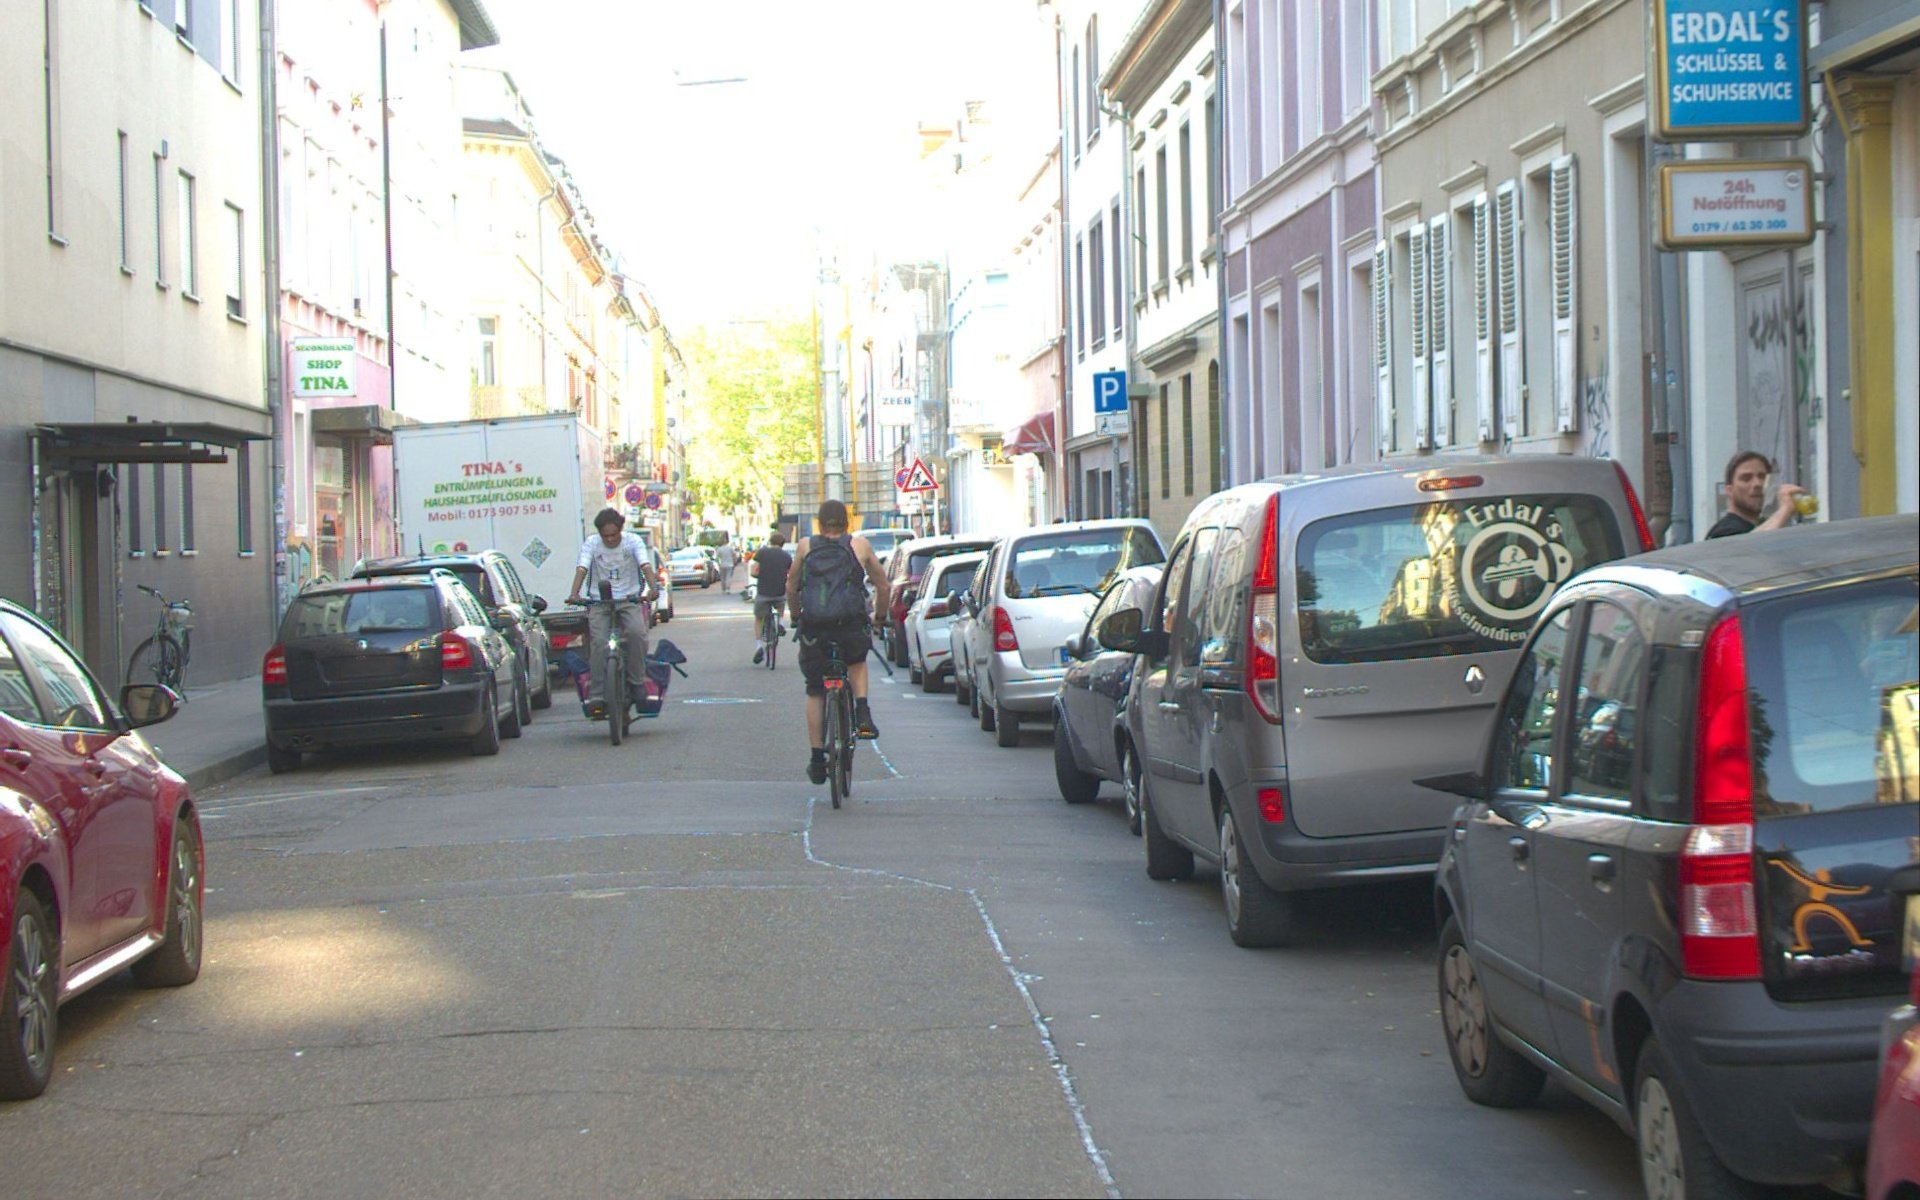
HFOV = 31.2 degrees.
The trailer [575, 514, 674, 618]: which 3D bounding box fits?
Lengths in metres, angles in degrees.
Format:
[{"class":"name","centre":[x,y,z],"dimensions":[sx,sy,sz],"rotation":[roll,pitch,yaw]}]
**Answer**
[{"class":"trailer","centre":[-7.112,-0.725,73.059],"dimensions":[1.881,2.085,3.738],"rotation":[-2,1,-3]}]

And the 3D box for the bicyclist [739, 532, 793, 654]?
[{"class":"bicyclist","centre":[-2.516,-0.095,44.526],"dimensions":[0.671,1.562,0.716],"rotation":[0,0,-5]}]

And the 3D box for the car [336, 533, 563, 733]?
[{"class":"car","centre":[-4.849,0.257,33.141],"dimensions":[1.716,1.644,4.246],"rotation":[-4,2,-4]}]

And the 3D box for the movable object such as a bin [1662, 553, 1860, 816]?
[{"class":"movable object such as a bin","centre":[3.933,0.404,16.908],"dimensions":[0.762,1.239,0.580],"rotation":[-2,0,-6]}]

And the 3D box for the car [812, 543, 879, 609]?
[{"class":"car","centre":[-2.922,-0.609,87.375],"dimensions":[1.611,1.628,3.611],"rotation":[0,0,-3]}]

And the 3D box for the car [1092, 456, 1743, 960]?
[{"class":"car","centre":[1.716,0.365,14.386],"dimensions":[1.899,1.787,4.315],"rotation":[0,0,-4]}]

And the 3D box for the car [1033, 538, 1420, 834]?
[{"class":"car","centre":[1.405,0.424,19.354],"dimensions":[1.552,1.506,3.612],"rotation":[0,0,-6]}]

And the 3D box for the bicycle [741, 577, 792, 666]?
[{"class":"bicycle","centre":[-2.509,0.266,44.531],"dimensions":[0.648,1.125,2.136],"rotation":[0,0,-3]}]

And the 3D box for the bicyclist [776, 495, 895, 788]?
[{"class":"bicyclist","centre":[-0.741,0.233,20.200],"dimensions":[0.667,1.671,1.097],"rotation":[0,0,-4]}]

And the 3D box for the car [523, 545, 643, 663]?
[{"class":"car","centre":[-6.289,0.047,57.740],"dimensions":[1.752,1.810,4.079],"rotation":[-3,1,-4]}]

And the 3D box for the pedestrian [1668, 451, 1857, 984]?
[{"class":"pedestrian","centre":[2.627,0.372,11.294],"dimensions":[0.441,1.698,0.655],"rotation":[0,0,-3]}]

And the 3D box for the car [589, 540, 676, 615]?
[{"class":"car","centre":[-7.336,-0.510,77.251],"dimensions":[1.750,1.567,3.796],"rotation":[-2,1,-3]}]

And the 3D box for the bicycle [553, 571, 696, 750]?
[{"class":"bicycle","centre":[-2.683,0.452,27.782],"dimensions":[0.977,1.310,2.555],"rotation":[-2,1,-3]}]

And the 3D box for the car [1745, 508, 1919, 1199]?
[{"class":"car","centre":[2.158,0.667,3.747],"dimensions":[1.606,1.567,3.554],"rotation":[0,0,-3]}]

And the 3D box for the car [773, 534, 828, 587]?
[{"class":"car","centre":[-4.816,-1.184,103.425],"dimensions":[1.611,1.555,3.611],"rotation":[0,0,-3]}]

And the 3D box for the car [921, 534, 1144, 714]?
[{"class":"car","centre":[0.627,0.195,33.268],"dimensions":[1.696,1.538,4.629],"rotation":[-3,1,-4]}]

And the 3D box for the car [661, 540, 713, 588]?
[{"class":"car","centre":[-10.006,-1.322,126.238],"dimensions":[1.750,1.678,3.796],"rotation":[-2,1,-3]}]

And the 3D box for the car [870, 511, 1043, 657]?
[{"class":"car","centre":[-0.101,-0.227,46.462],"dimensions":[1.918,1.700,4.367],"rotation":[-5,1,-3]}]

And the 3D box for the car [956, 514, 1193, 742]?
[{"class":"car","centre":[0.859,0.194,27.538],"dimensions":[1.556,1.706,3.559],"rotation":[0,0,-4]}]

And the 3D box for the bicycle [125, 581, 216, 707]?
[{"class":"bicycle","centre":[-7.801,0.418,34.015],"dimensions":[0.490,1.160,1.773],"rotation":[-3,1,-2]}]

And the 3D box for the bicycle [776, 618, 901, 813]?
[{"class":"bicycle","centre":[-0.734,0.652,20.248],"dimensions":[0.677,1.071,1.942],"rotation":[0,0,-4]}]

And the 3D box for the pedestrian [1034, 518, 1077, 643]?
[{"class":"pedestrian","centre":[1.540,-0.319,55.574],"dimensions":[0.644,2.007,0.764],"rotation":[0,0,-3]}]

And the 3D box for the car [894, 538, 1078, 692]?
[{"class":"car","centre":[0.236,0.143,38.401],"dimensions":[1.686,1.538,4.047],"rotation":[-3,1,-4]}]

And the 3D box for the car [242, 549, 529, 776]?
[{"class":"car","centre":[-4.460,0.423,27.287],"dimensions":[1.716,1.473,4.500],"rotation":[-4,2,-4]}]

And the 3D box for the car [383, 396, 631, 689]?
[{"class":"car","centre":[-5.598,-0.698,43.464],"dimensions":[2.343,3.280,7.155],"rotation":[-3,1,-3]}]

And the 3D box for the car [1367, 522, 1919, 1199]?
[{"class":"car","centre":[2.040,0.621,8.215],"dimensions":[1.569,1.551,3.314],"rotation":[-4,1,-1]}]

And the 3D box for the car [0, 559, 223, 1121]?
[{"class":"car","centre":[-3.602,0.696,10.997],"dimensions":[1.750,1.517,3.869],"rotation":[-4,1,-3]}]

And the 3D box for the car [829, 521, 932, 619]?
[{"class":"car","centre":[-1.643,-0.607,70.024],"dimensions":[1.750,1.872,3.973],"rotation":[-2,1,-6]}]

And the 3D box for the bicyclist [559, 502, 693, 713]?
[{"class":"bicyclist","centre":[-2.687,0.050,27.767],"dimensions":[0.950,1.622,0.953],"rotation":[-3,1,-3]}]
